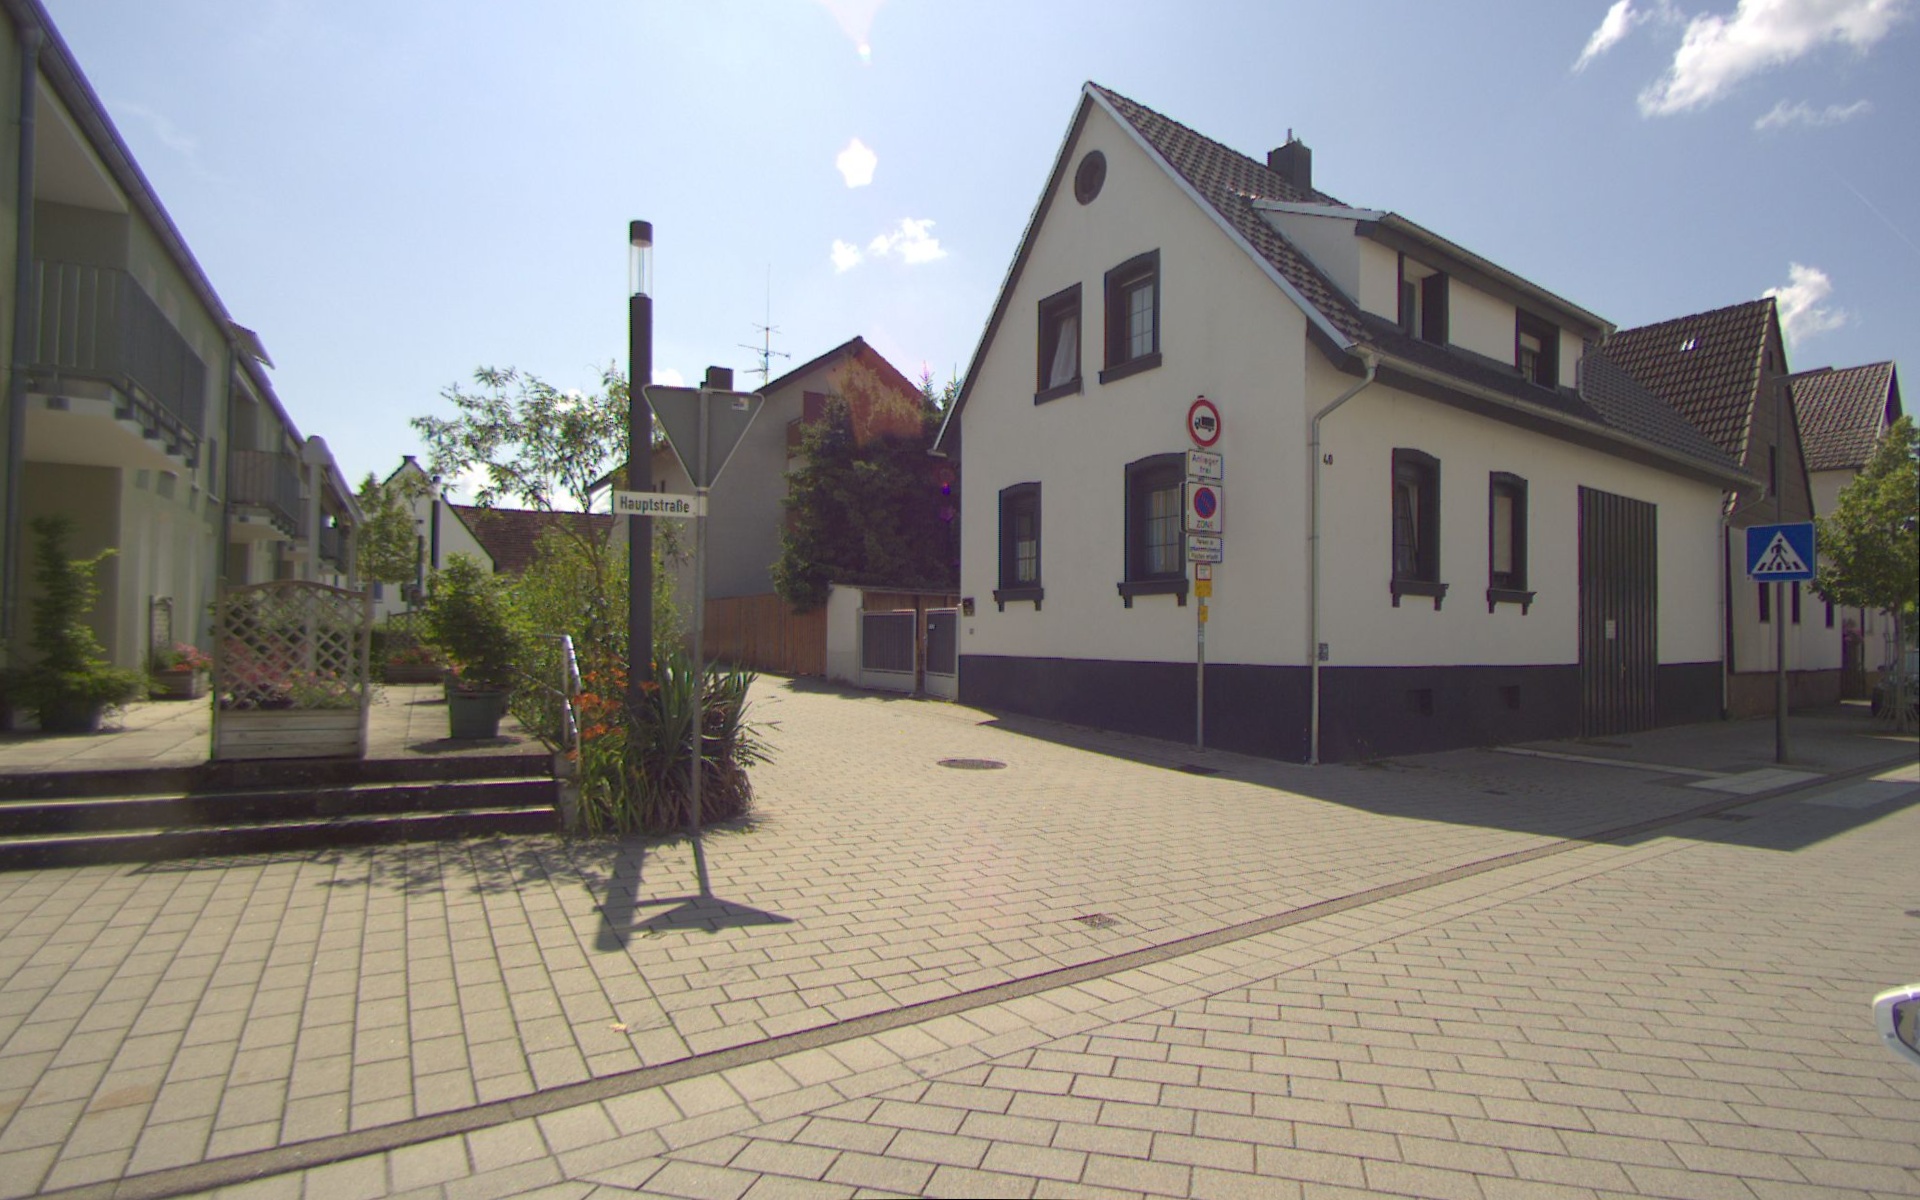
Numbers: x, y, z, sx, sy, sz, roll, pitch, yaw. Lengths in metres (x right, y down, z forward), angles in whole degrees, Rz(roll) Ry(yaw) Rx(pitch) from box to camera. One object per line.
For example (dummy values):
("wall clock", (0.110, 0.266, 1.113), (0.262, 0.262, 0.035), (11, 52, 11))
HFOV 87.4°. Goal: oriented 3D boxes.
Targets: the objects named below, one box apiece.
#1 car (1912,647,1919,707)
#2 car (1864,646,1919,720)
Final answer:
("car", (26.902, 2.066, 26.805), (4.225, 1.552, 1.736), (2, -1, -40))
("car", (22.046, 1.840, 22.724), (3.965, 1.550, 1.734), (2, -1, -38))
